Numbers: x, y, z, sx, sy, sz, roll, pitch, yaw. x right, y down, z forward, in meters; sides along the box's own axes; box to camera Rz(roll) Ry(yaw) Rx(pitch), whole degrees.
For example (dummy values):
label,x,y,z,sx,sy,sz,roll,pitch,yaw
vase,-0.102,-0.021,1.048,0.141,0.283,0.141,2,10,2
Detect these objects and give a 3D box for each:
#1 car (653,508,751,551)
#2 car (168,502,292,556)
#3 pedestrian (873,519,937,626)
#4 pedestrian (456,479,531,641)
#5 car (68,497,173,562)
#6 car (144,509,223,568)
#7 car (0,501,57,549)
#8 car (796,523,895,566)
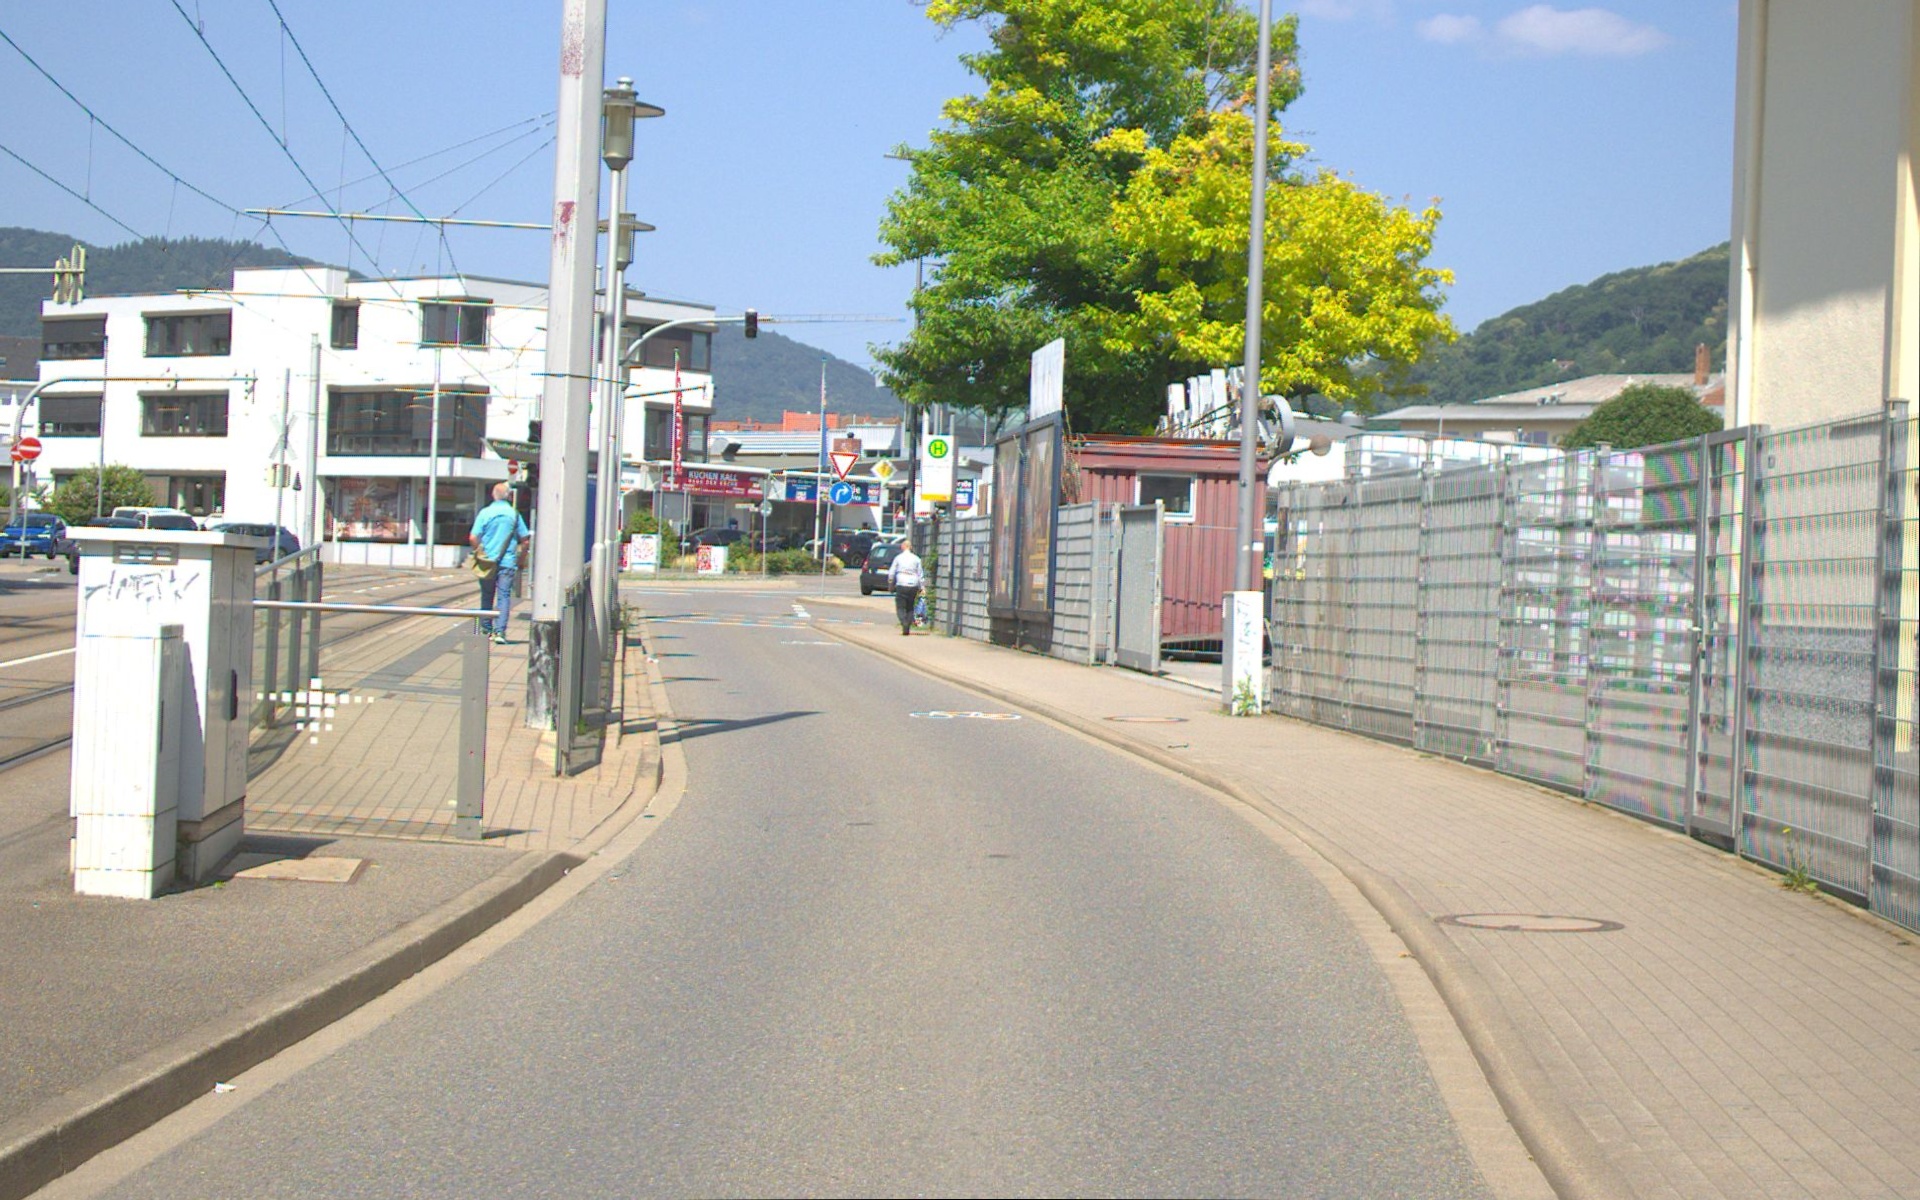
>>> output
label,x,y,z,sx,sy,sz,roll,pitch,yaw
car,-10.777,-2.954,143.750,1.734,1.656,3.990,3,1,42
car,-24.510,-2.389,115.439,3.892,1.674,1.732,2,1,-17
pedestrian,-0.967,-0.484,59.913,0.940,1.781,0.953,3,2,-6
pedestrian,-5.088,-0.437,37.508,0.743,1.734,0.727,2,1,-6
car,-20.871,-1.758,85.598,1.786,1.546,4.001,1,1,-3
car,-22.531,-1.797,99.670,1.755,1.641,3.763,1,1,-20
car,-30.147,-2.427,110.622,1.755,1.484,3.763,1,1,-20
car,-4.725,-2.279,142.164,1.864,1.656,3.990,3,1,40
